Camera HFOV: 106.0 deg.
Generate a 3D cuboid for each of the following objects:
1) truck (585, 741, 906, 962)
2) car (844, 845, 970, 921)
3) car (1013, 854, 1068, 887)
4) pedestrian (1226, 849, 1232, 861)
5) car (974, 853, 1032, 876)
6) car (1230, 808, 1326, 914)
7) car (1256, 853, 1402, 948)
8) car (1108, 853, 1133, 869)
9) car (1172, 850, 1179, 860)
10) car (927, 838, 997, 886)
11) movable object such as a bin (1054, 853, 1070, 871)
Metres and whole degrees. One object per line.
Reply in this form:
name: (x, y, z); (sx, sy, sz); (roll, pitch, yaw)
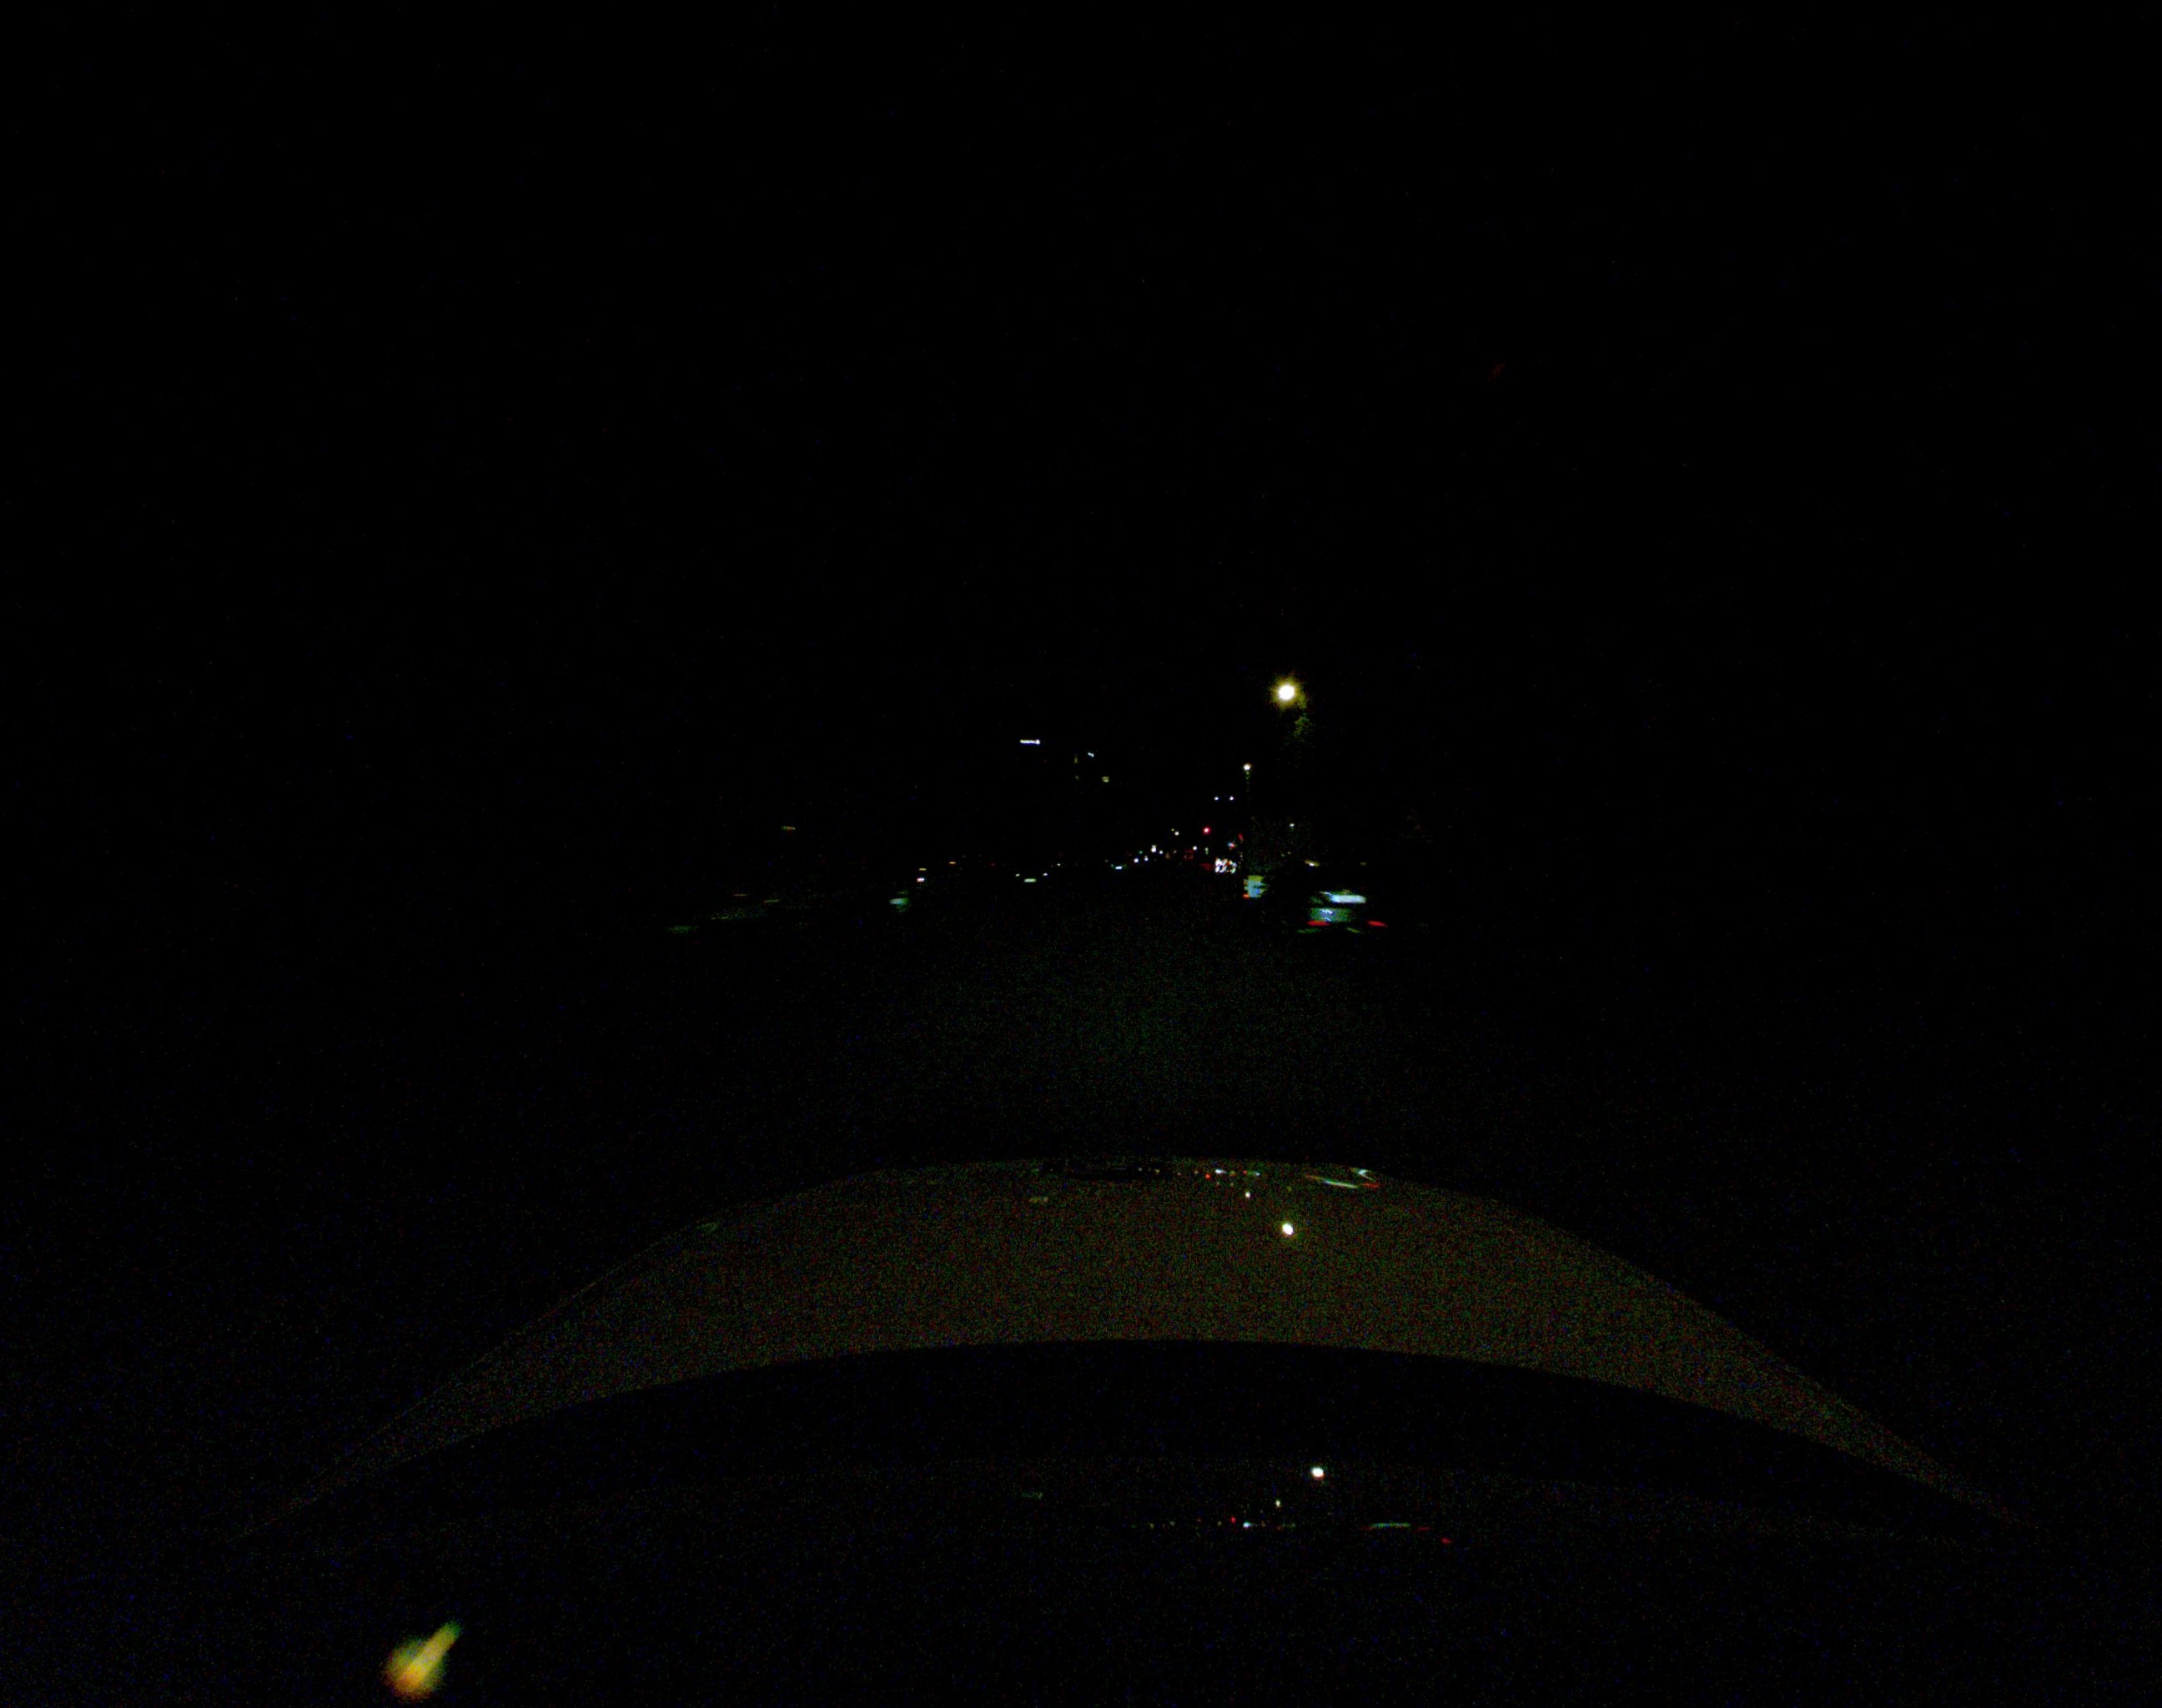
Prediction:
truck: (-5.889, -0.033, 15.976); (2.530, 3.280, 7.325); (-1, 0, 6)
car: (-4.609, 0.699, 22.391); (1.819, 1.816, 4.848); (-2, 0, 7)
car: (-1.938, 0.796, 40.608); (1.744, 1.526, 4.335); (-1, -1, 10)
pedestrian: (23.764, 0.198, 130.553); (0.736, 1.981, 0.624); (-1, 0, -8)
car: (-5.813, 0.756, 60.957); (3.964, 1.571, 1.821); (-2, 0, 8)
car: (5.278, 0.169, 22.589); (2.009, 2.526, 6.065); (0, 0, 8)
car: (4.506, 0.757, 15.506); (1.703, 1.508, 4.646); (-1, 0, 5)
car: (3.947, 0.665, 80.052); (1.900, 1.404, 4.349); (-2, 0, 10)
car: (30.216, 0.325, 260.579); (1.985, 2.974, 4.004); (-1, 0, 4)
car: (-6.273, 0.396, 43.605); (1.980, 2.321, 4.984); (-3, 0, 13)
movable object such as a bin: (-1.568, 0.656, 68.149); (1.158, 1.496, 1.067); (-2, 0, 6)
